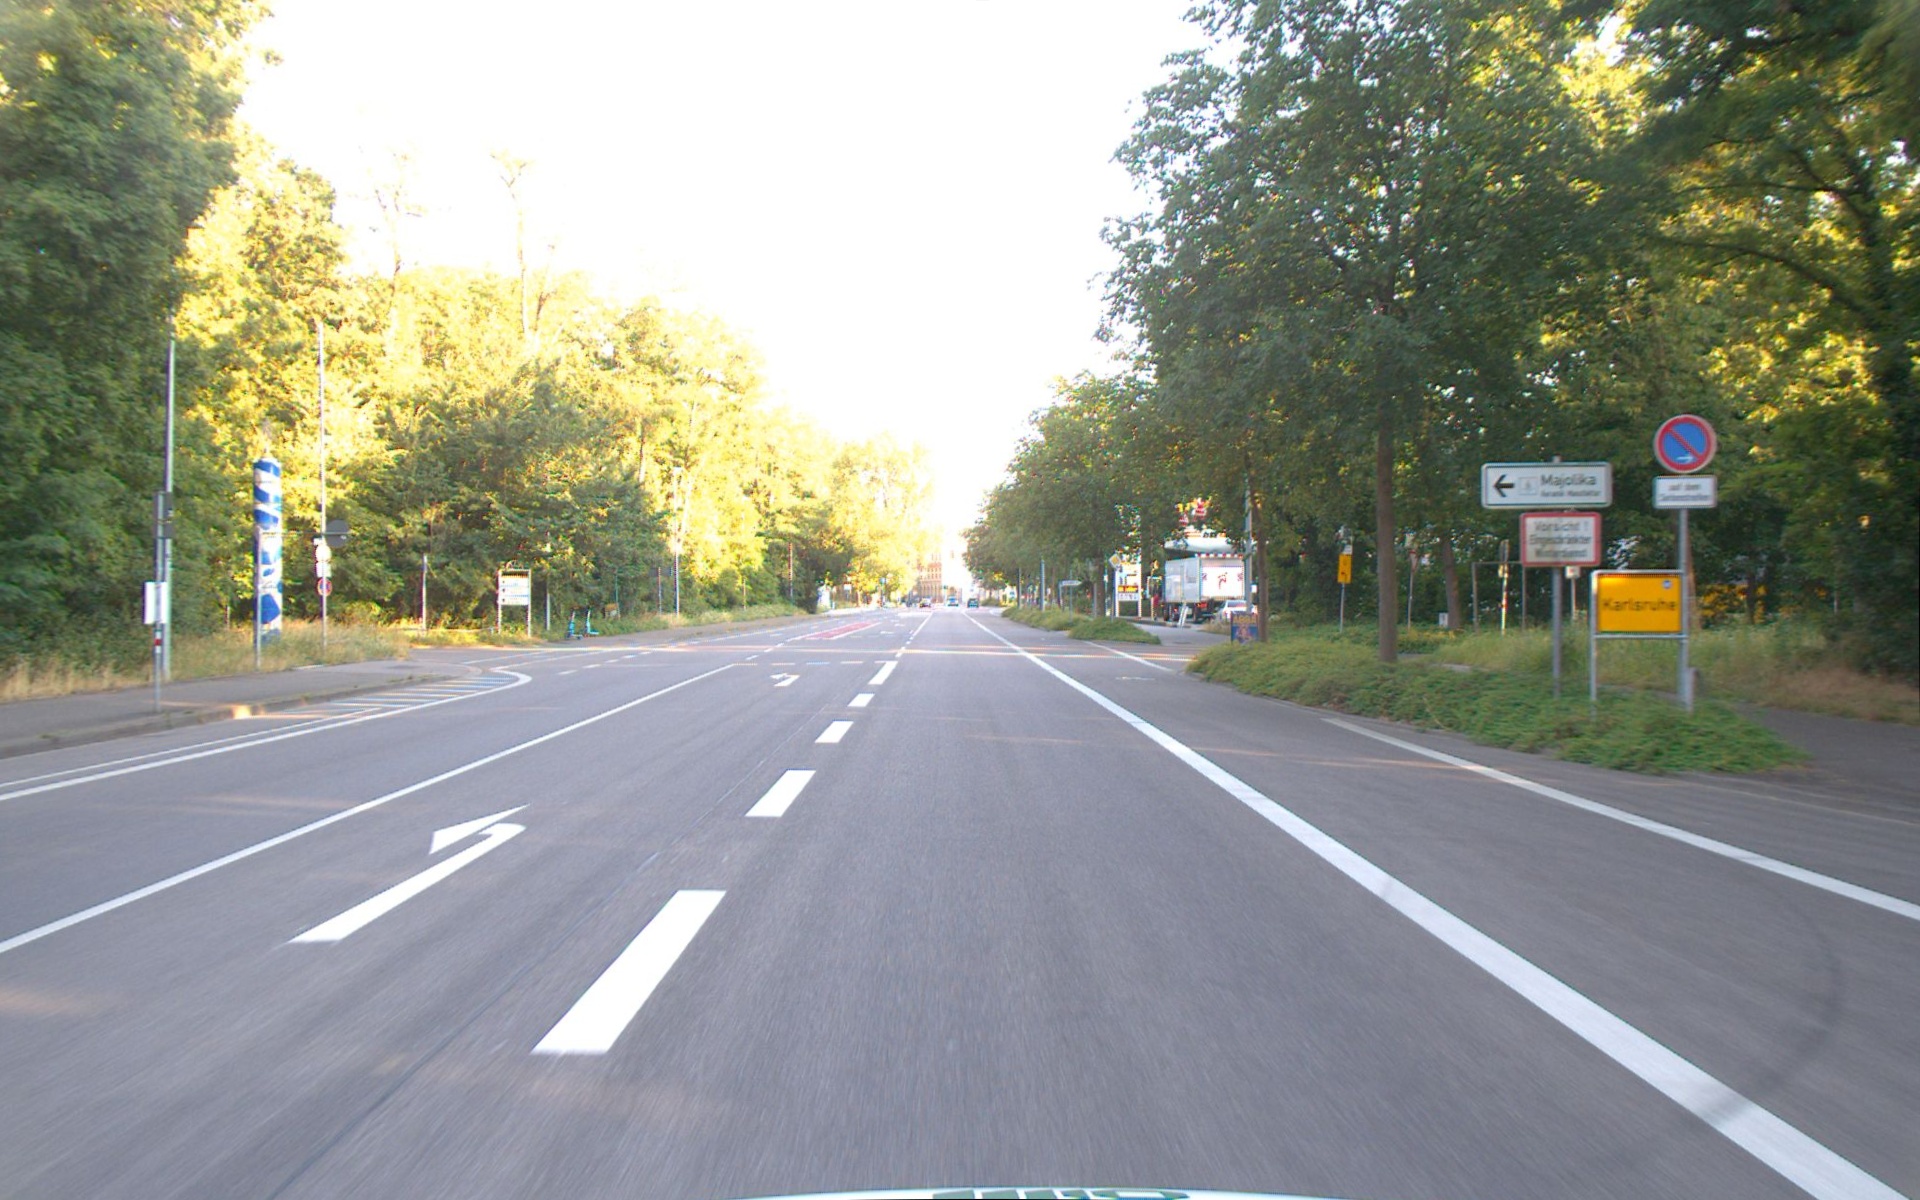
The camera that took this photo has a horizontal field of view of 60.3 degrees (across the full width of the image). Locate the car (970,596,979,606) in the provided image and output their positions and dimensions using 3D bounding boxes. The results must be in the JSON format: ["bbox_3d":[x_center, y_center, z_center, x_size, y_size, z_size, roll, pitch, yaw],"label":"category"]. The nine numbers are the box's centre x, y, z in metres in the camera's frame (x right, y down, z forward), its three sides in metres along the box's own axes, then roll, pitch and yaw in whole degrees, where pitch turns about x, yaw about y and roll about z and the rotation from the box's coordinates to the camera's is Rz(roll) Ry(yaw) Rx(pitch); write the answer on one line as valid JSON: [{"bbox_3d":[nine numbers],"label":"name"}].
[{"bbox_3d":[2.205,0.230,254.601,1.462,1.512,3.490,0,0,0],"label":"car"}]

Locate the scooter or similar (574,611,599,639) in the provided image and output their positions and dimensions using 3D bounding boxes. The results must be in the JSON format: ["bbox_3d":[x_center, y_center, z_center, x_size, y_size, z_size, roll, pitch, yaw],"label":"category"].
[{"bbox_3d":[-14.811,0.983,65.659,0.886,1.087,0.492,0,0,-26],"label":"scooter or similar"}]

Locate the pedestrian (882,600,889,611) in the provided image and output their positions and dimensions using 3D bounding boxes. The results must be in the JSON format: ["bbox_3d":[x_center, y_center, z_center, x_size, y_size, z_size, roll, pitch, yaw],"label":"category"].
[{"bbox_3d":[-10.875,0.769,241.888,0.774,1.608,0.746,1,0,9],"label":"pedestrian"}]

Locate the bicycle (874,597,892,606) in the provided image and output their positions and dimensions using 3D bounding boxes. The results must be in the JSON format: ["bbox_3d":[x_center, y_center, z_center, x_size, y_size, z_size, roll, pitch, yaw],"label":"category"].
[{"bbox_3d":[-10.878,0.196,234.668,2.410,1.216,0.757,0,0,9],"label":"bicycle"}]

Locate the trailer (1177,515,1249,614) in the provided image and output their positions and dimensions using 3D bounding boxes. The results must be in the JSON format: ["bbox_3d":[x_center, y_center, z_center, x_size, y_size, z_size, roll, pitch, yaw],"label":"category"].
[{"bbox_3d":[14.779,-2.006,97.125,2.958,5.557,7.933,0,0,-1],"label":"trailer"}]

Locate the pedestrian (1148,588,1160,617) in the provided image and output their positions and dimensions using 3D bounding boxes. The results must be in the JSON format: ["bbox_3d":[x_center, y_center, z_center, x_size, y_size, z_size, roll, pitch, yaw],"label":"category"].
[{"bbox_3d":[12.597,0.149,107.444,0.741,1.829,0.707,1,0,3],"label":"pedestrian"}]

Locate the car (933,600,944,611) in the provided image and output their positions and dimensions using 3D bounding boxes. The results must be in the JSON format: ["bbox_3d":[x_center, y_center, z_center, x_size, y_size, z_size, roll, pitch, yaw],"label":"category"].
[{"bbox_3d":[-3.045,0.799,234.811,1.462,1.512,3.490,0,0,0],"label":"car"}]

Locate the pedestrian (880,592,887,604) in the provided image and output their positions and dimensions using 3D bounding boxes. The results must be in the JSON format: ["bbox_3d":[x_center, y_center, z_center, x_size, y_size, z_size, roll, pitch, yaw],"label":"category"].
[{"bbox_3d":[-10.858,-0.285,234.716,0.774,1.608,0.746,1,0,9],"label":"pedestrian"}]

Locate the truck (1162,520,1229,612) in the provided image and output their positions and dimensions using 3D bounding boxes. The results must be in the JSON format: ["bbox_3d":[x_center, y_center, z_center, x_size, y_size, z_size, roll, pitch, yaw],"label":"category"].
[{"bbox_3d":[14.747,-2.073,103.981,2.971,5.551,8.409,0,0,0],"label":"truck"}]

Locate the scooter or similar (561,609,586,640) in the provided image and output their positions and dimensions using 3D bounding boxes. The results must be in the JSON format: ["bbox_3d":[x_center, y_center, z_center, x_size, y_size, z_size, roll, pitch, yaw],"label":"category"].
[{"bbox_3d":[-14.547,0.925,62.250,0.355,1.129,0.874,-1,0,41],"label":"scooter or similar"}]

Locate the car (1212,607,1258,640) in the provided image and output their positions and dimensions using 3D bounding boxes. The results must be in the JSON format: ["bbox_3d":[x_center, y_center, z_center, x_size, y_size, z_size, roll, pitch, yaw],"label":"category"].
[{"bbox_3d":[14.002,1.172,84.466,1.733,1.611,4.821,1,0,3],"label":"car"}]
